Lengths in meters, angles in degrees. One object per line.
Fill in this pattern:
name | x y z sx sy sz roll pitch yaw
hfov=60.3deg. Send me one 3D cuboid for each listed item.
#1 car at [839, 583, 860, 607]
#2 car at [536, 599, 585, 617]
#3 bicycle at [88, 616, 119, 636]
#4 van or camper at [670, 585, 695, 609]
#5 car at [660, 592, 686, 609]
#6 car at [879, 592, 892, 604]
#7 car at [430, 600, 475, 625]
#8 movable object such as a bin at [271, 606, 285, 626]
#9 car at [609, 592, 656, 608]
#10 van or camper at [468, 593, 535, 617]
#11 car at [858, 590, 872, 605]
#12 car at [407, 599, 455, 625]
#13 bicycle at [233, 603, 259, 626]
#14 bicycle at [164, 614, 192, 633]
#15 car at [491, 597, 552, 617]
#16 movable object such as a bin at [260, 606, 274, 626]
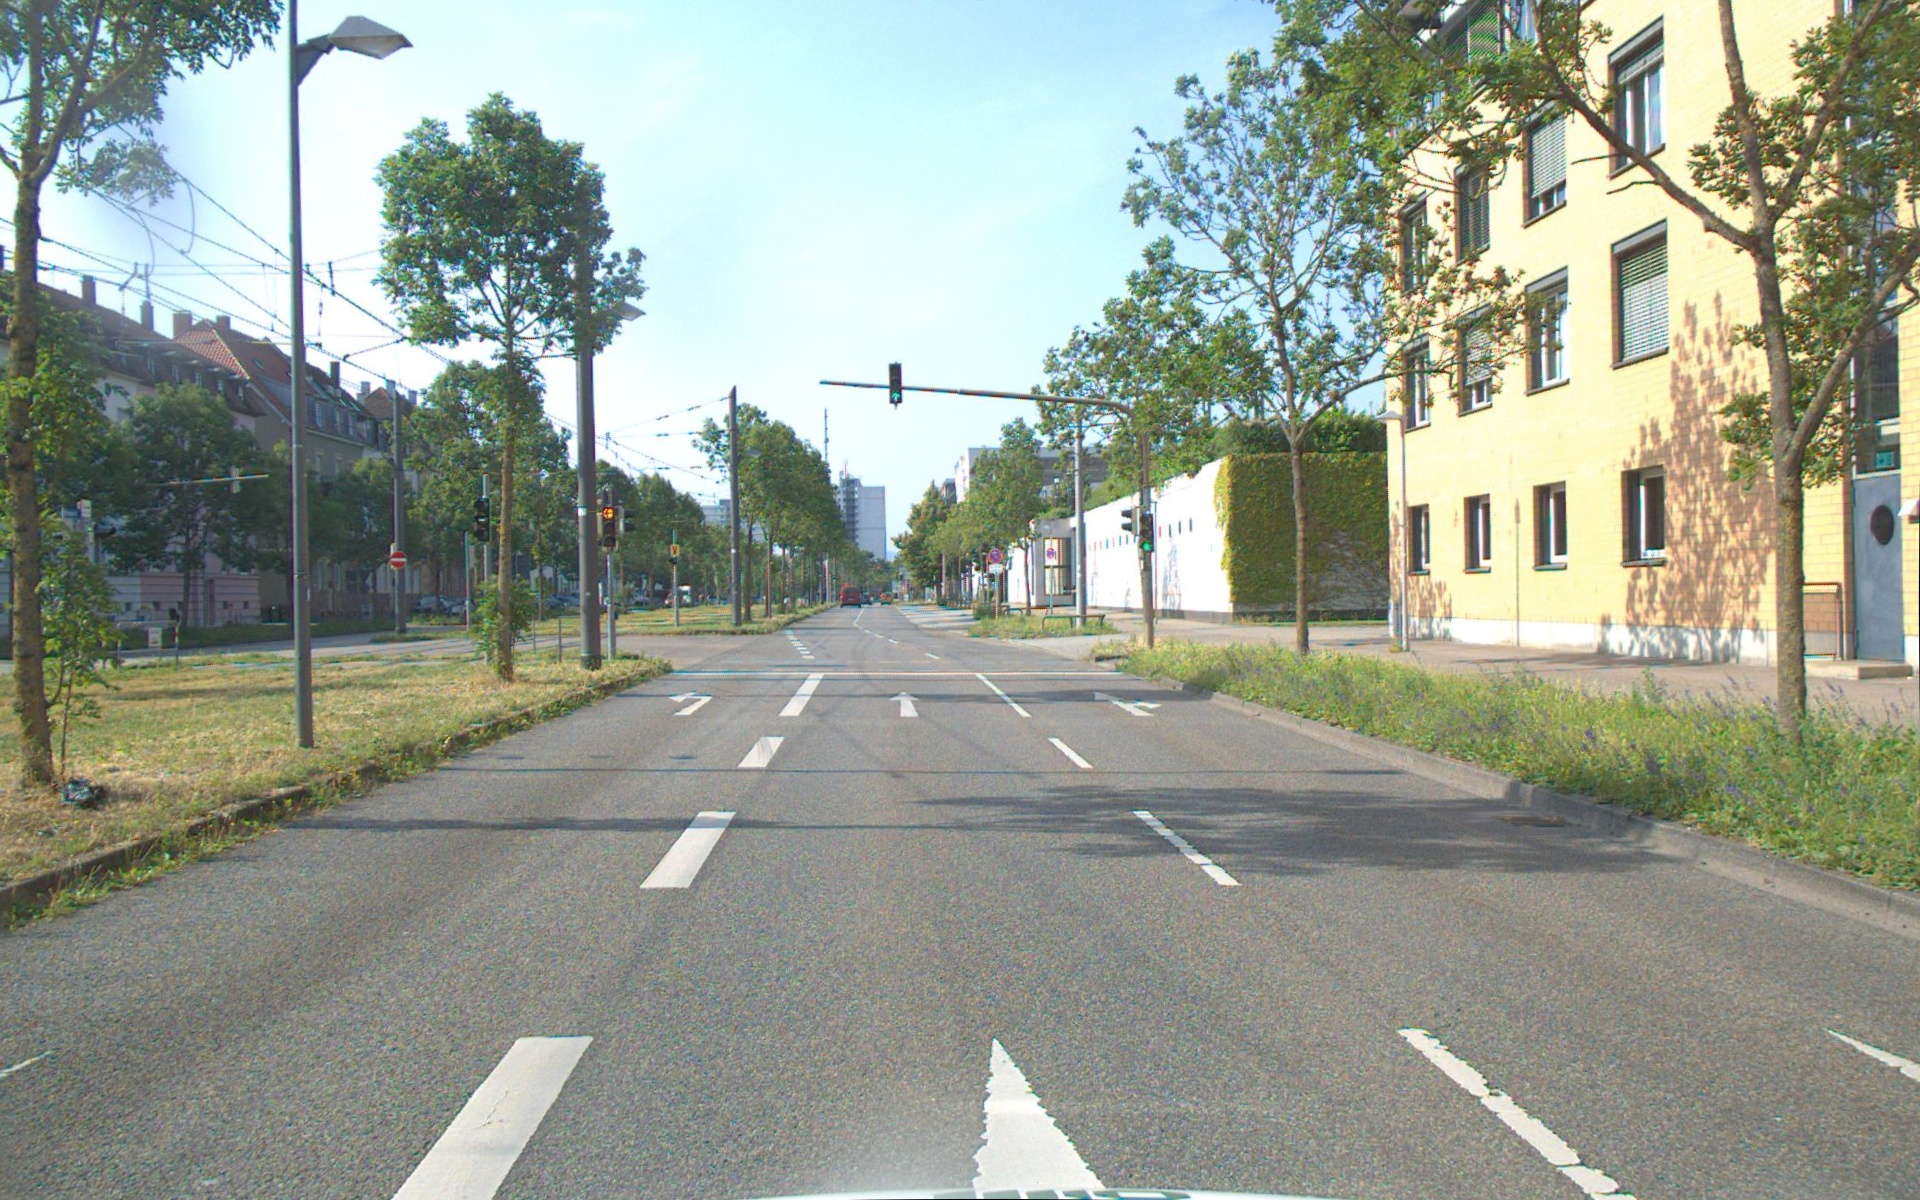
car | -9.910 -0.415 148.594 1.713 2.049 3.214 1 -1 -2
car | -34.105 0.648 141.163 3.906 1.442 1.576 1 -1 23
bicycle | -35.743 1.098 69.041 0.429 0.803 1.946 1 -1 -4
van or camper | -31.645 -0.313 188.582 2.159 2.575 6.025 1 -1 -4
car | -31.495 0.089 181.633 1.924 1.724 4.297 1 -1 1
car | -10.258 -0.275 226.551 1.713 1.679 3.214 1 -1 -2
car | -35.221 0.867 114.818 1.851 1.657 4.156 1 0 0
movable object such as a bin | -42.358 0.987 102.725 0.573 1.232 0.640 1 -1 -5
car | -36.993 0.011 186.841 5.212 1.768 1.995 1 -1 31
van or camper | -33.950 0.377 122.374 4.744 1.652 1.999 1 -1 30
car | -12.755 -0.332 221.546 1.713 2.049 3.214 1 -1 -2
car | -34.821 0.784 108.946 1.954 1.657 4.770 1 0 -5
bicycle | -36.215 0.745 83.876 0.592 1.147 1.946 1 -1 -4
bicycle | -35.790 1.071 75.712 0.438 0.872 1.946 1 -1 -4
car | -33.289 0.532 125.638 4.381 1.444 1.970 1 -1 31
movable object such as a bin | -43.035 0.999 102.674 0.573 1.232 0.640 1 -1 -5
